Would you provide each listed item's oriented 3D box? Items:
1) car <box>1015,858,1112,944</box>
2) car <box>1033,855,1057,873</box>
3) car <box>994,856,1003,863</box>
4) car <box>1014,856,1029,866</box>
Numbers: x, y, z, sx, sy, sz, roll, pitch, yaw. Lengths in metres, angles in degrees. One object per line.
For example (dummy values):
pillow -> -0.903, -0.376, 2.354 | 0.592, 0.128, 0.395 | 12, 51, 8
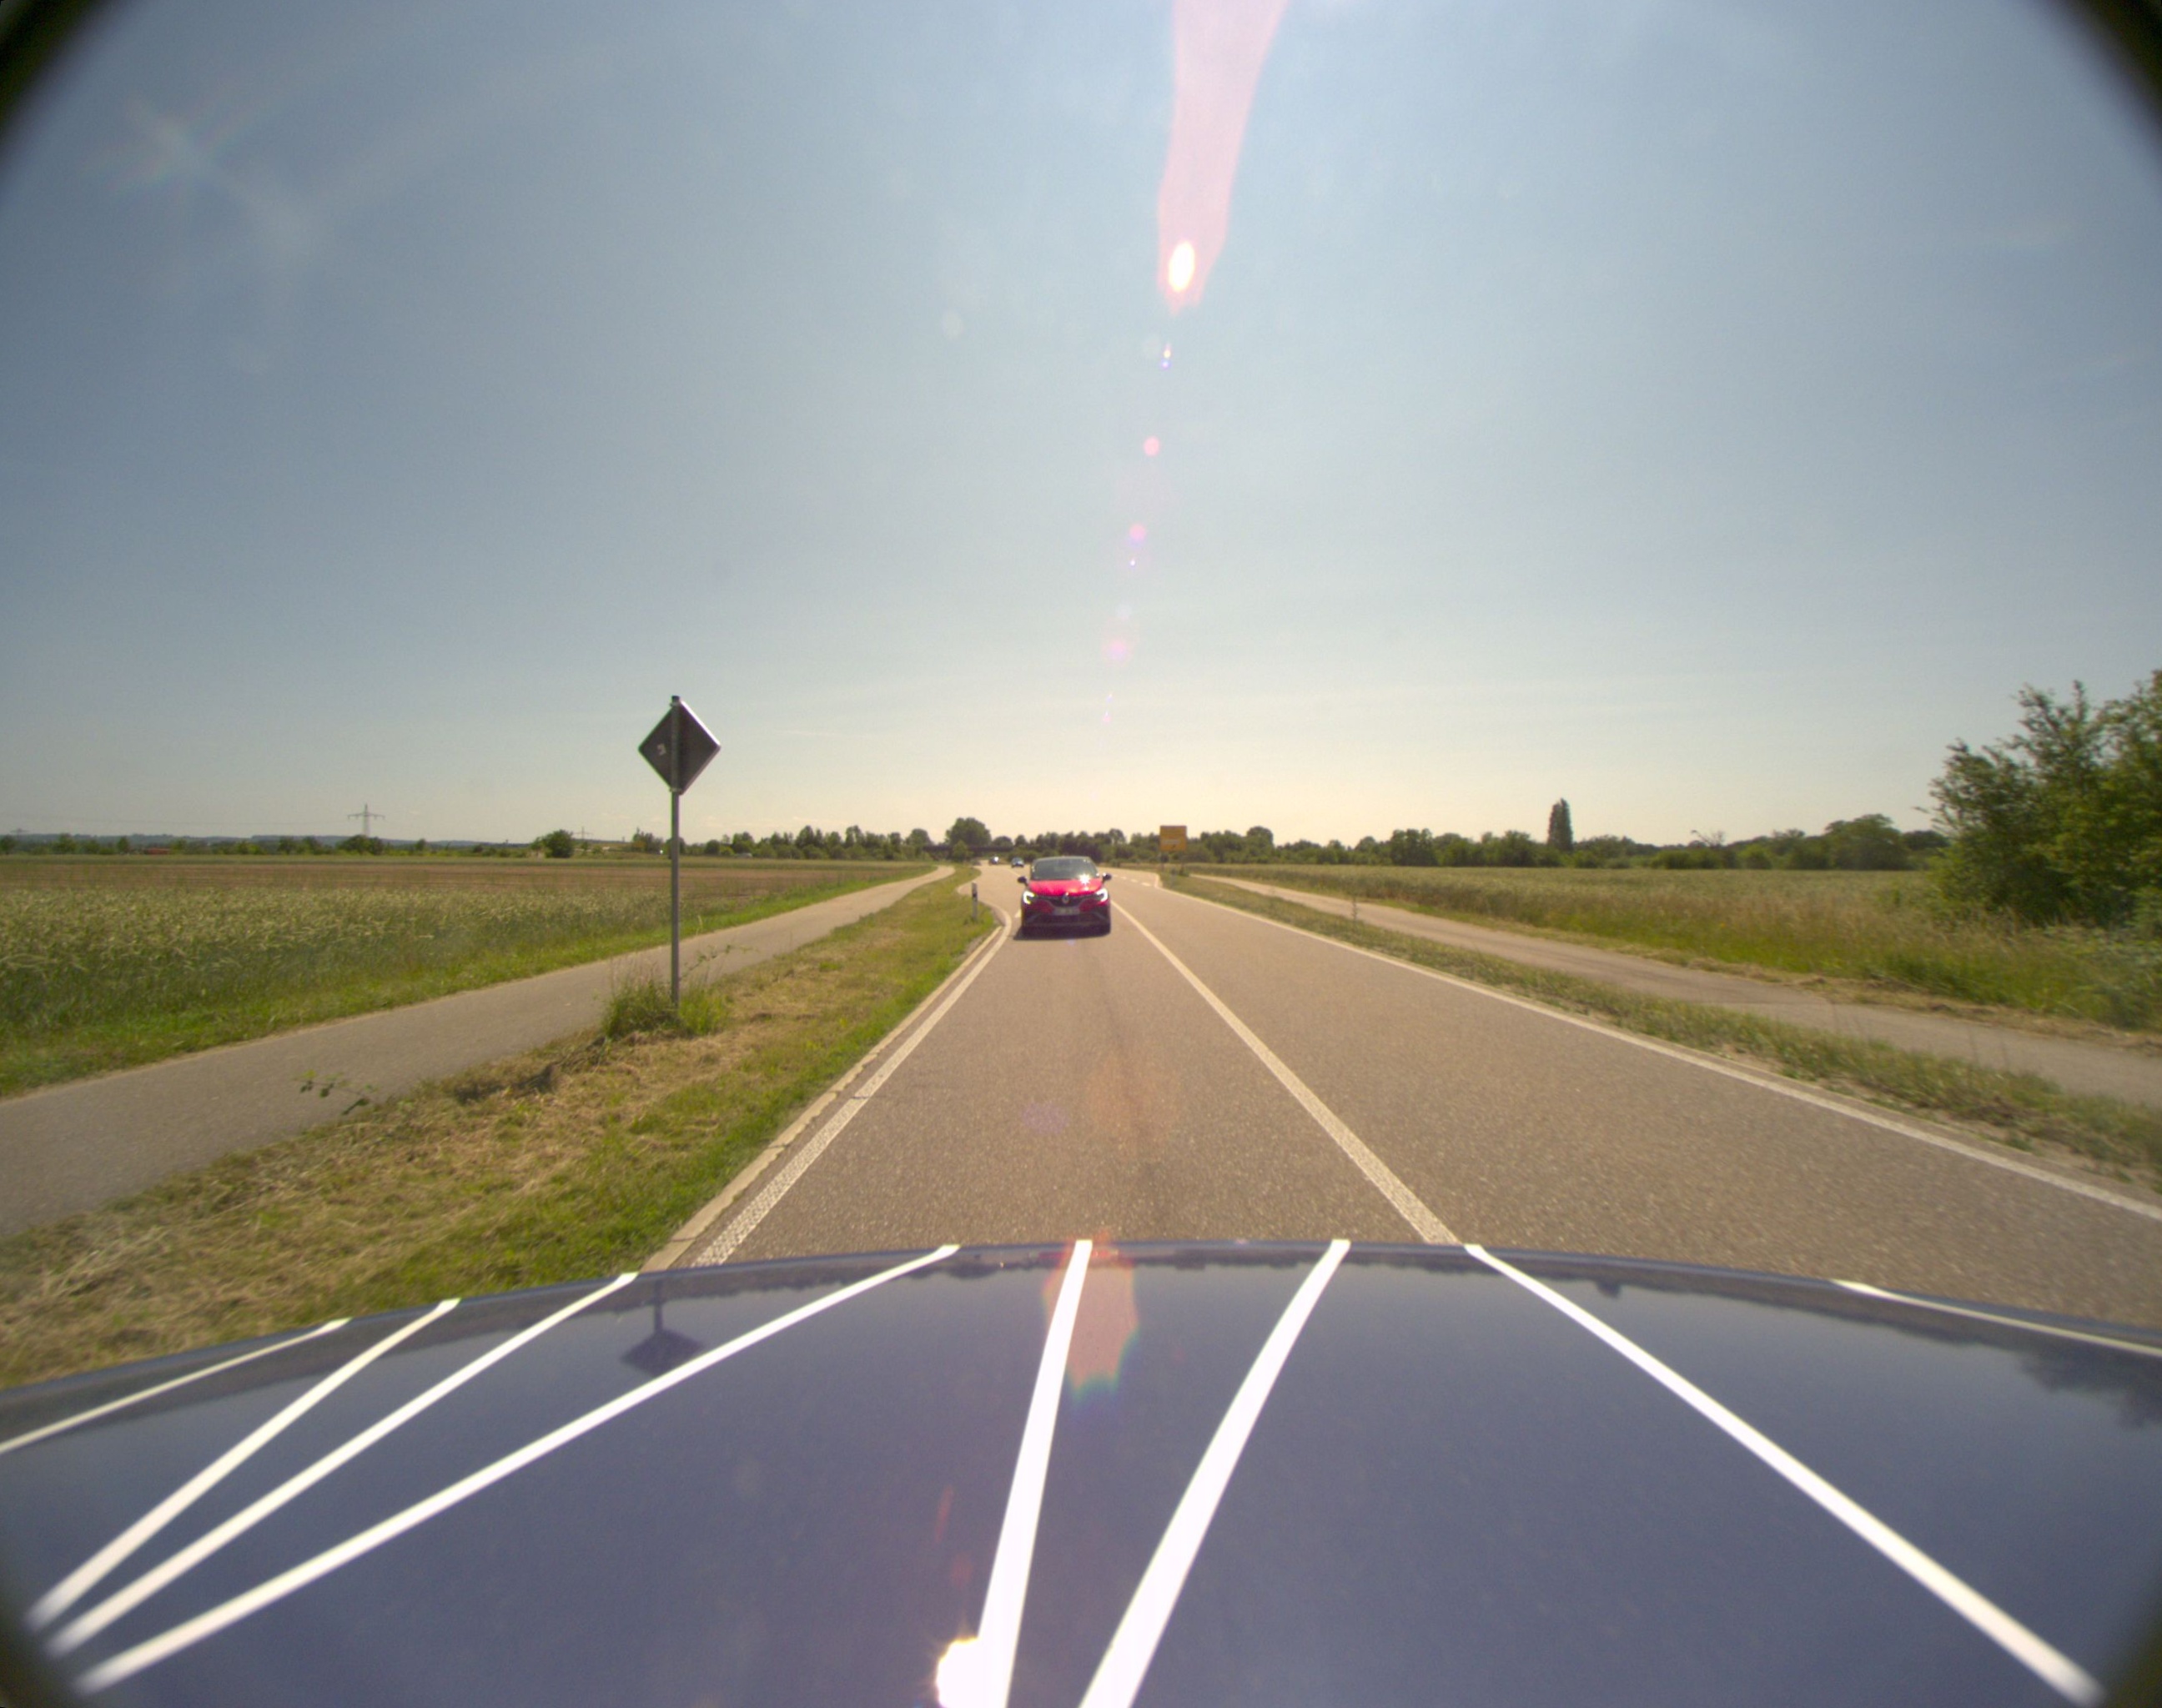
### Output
car -> -0.305, 0.926, 16.969 | 1.837, 1.587, 4.722 | -1, 0, 1
car -> -3.354, 0.941, 71.634 | 1.983, 1.587, 5.401 | -1, 0, 0
car -> -18.474, 1.171, 170.457 | 1.984, 1.587, 5.399 | -1, 0, -5
car -> -9.478, 1.057, 120.095 | 1.984, 1.587, 5.398 | -1, 0, -8
